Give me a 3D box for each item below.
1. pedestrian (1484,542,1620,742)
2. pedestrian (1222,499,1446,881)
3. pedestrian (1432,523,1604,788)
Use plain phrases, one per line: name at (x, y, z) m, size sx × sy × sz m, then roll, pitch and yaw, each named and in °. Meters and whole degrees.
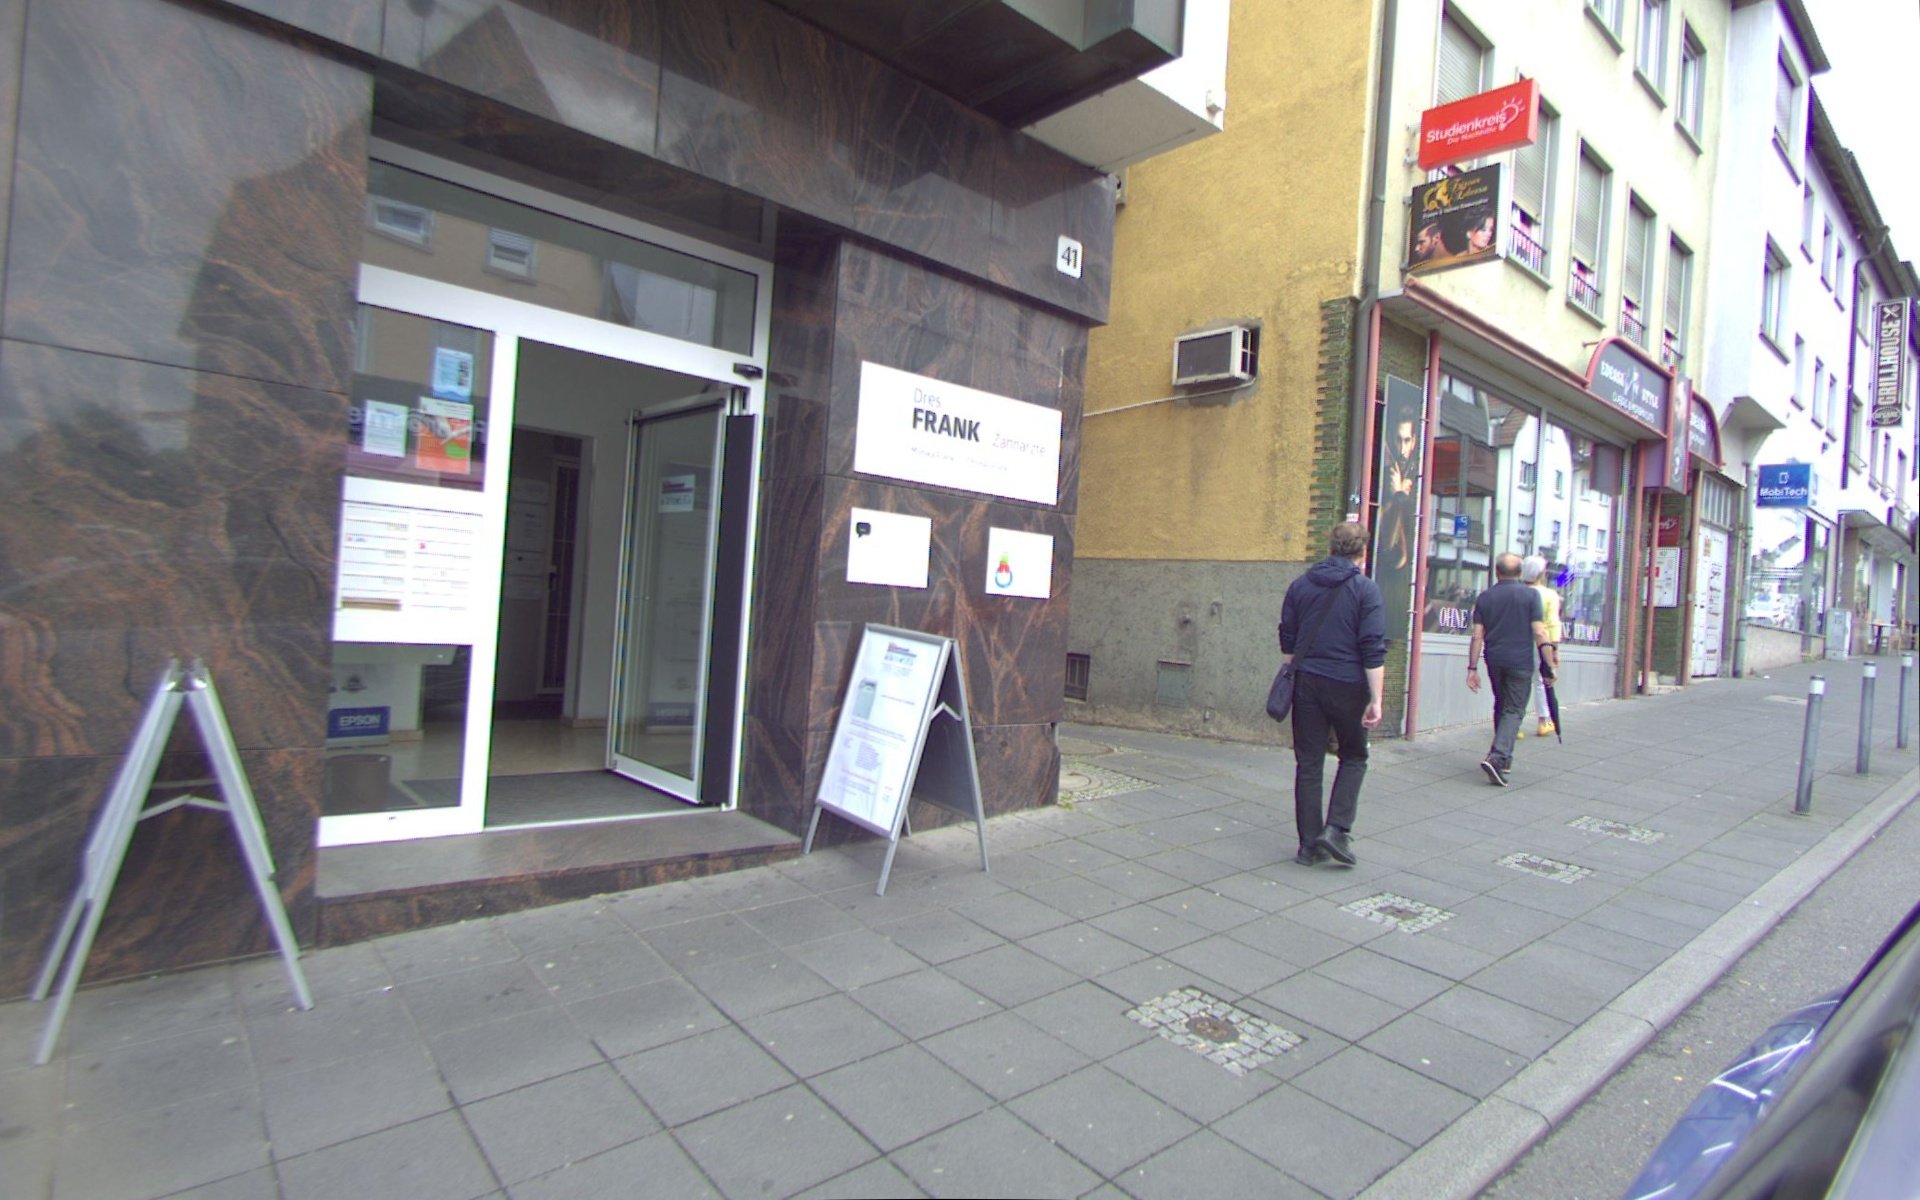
pedestrian at (5.268, 0.341, 9.014) m, size 0.820 × 1.650 × 0.713 m, roll 1°, pitch 4°, yaw -40°
pedestrian at (1.917, 0.398, 5.205) m, size 0.773 × 1.774 × 0.713 m, roll 0°, pitch 3°, yaw -40°
pedestrian at (4.062, 0.367, 7.379) m, size 0.771 × 1.773 × 0.713 m, roll 1°, pitch 5°, yaw -40°
